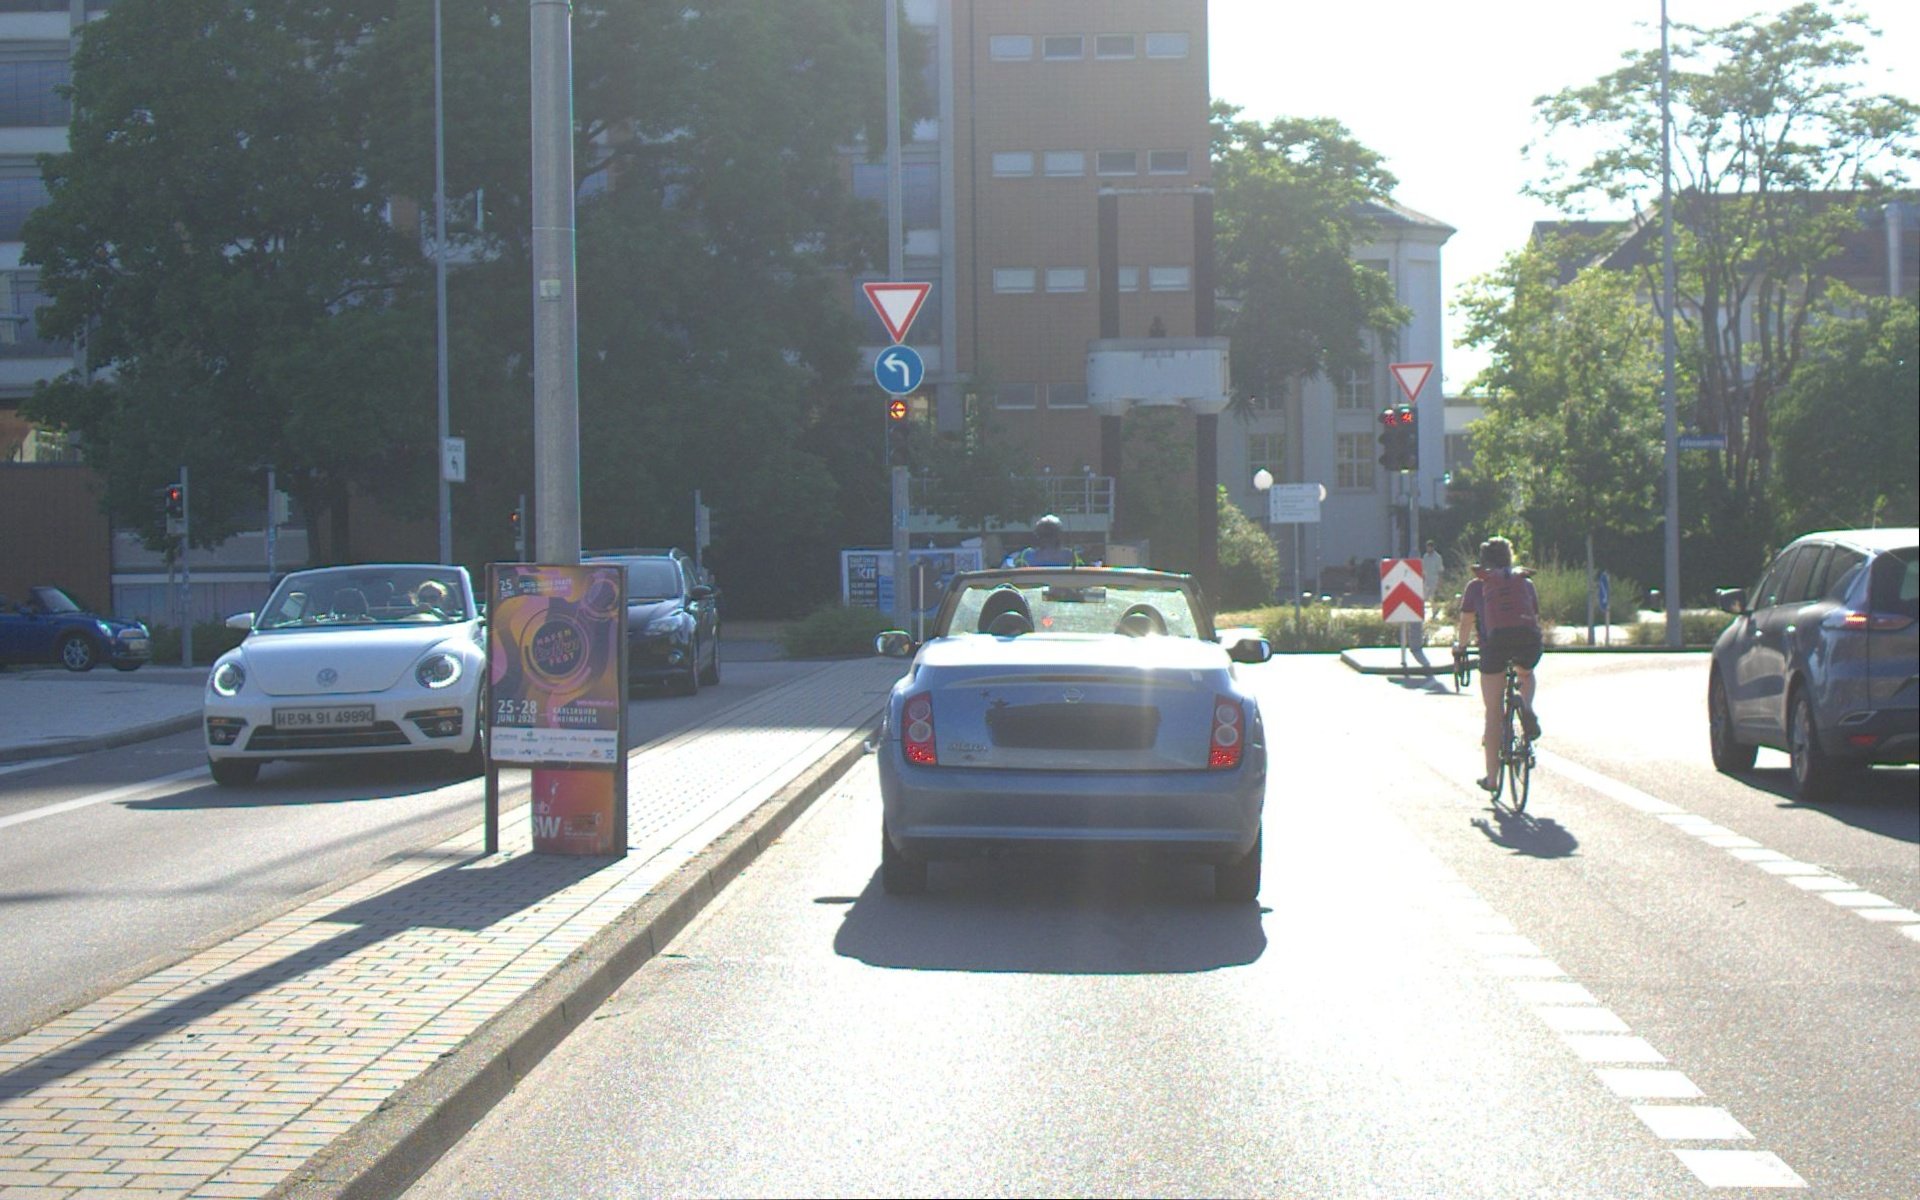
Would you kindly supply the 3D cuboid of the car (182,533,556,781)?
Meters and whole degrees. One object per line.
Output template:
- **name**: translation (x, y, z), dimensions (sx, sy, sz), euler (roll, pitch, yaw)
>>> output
- **car**: translation (-3.996, 0.331, 23.865), dimensions (1.799, 1.525, 4.000), euler (-2, 1, 1)

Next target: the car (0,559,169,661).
- **car**: translation (-14.586, 0.165, 54.417), dimensions (3.640, 1.555, 1.649), euler (-1, 1, 12)

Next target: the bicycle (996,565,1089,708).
- **bicycle**: translation (0.743, 0.312, 30.165), dimensions (0.608, 1.187, 2.414), euler (1, 0, 6)

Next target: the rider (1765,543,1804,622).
- **rider**: translation (16.908, -0.353, 70.518), dimensions (0.752, 1.593, 0.589), euler (1, 0, 14)

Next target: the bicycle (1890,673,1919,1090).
- **bicycle**: translation (2.907, 0.785, 8.958), dimensions (0.564, 1.147, 1.949), euler (1, 0, 4)

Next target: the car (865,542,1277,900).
- **car**: translation (0.465, 0.497, 16.124), dimensions (1.660, 1.436, 4.154), euler (1, 0, 0)

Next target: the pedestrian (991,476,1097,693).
- **pedestrian**: translation (0.742, -0.134, 30.145), dimensions (0.833, 1.862, 0.920), euler (1, 0, 6)

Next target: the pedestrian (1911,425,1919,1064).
- **pedestrian**: translation (2.904, 0.321, 8.904), dimensions (0.659, 1.862, 0.872), euler (1, 0, 4)

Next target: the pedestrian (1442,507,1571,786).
- **pedestrian**: translation (3.214, 0.268, 20.284), dimensions (0.587, 1.593, 1.025), euler (1, 0, 1)

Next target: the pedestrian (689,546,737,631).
- **pedestrian**: translation (-5.461, -0.260, 76.076), dimensions (0.870, 1.862, 0.660), euler (1, 0, 14)

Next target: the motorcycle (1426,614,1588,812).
- **motorcycle**: translation (3.211, 0.634, 20.354), dimensions (0.613, 1.094, 2.360), euler (1, 0, 1)

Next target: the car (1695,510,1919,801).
- **car**: translation (6.034, 0.337, 22.098), dimensions (1.831, 1.683, 4.368), euler (1, 0, 2)

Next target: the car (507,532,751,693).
- **car**: translation (-3.363, 0.093, 35.632), dimensions (1.799, 1.525, 4.000), euler (-2, 1, 5)

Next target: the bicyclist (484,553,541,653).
- **bicyclist**: translation (-7.209, 0.045, 55.403), dimensions (0.752, 1.593, 0.589), euler (1, 0, 9)
